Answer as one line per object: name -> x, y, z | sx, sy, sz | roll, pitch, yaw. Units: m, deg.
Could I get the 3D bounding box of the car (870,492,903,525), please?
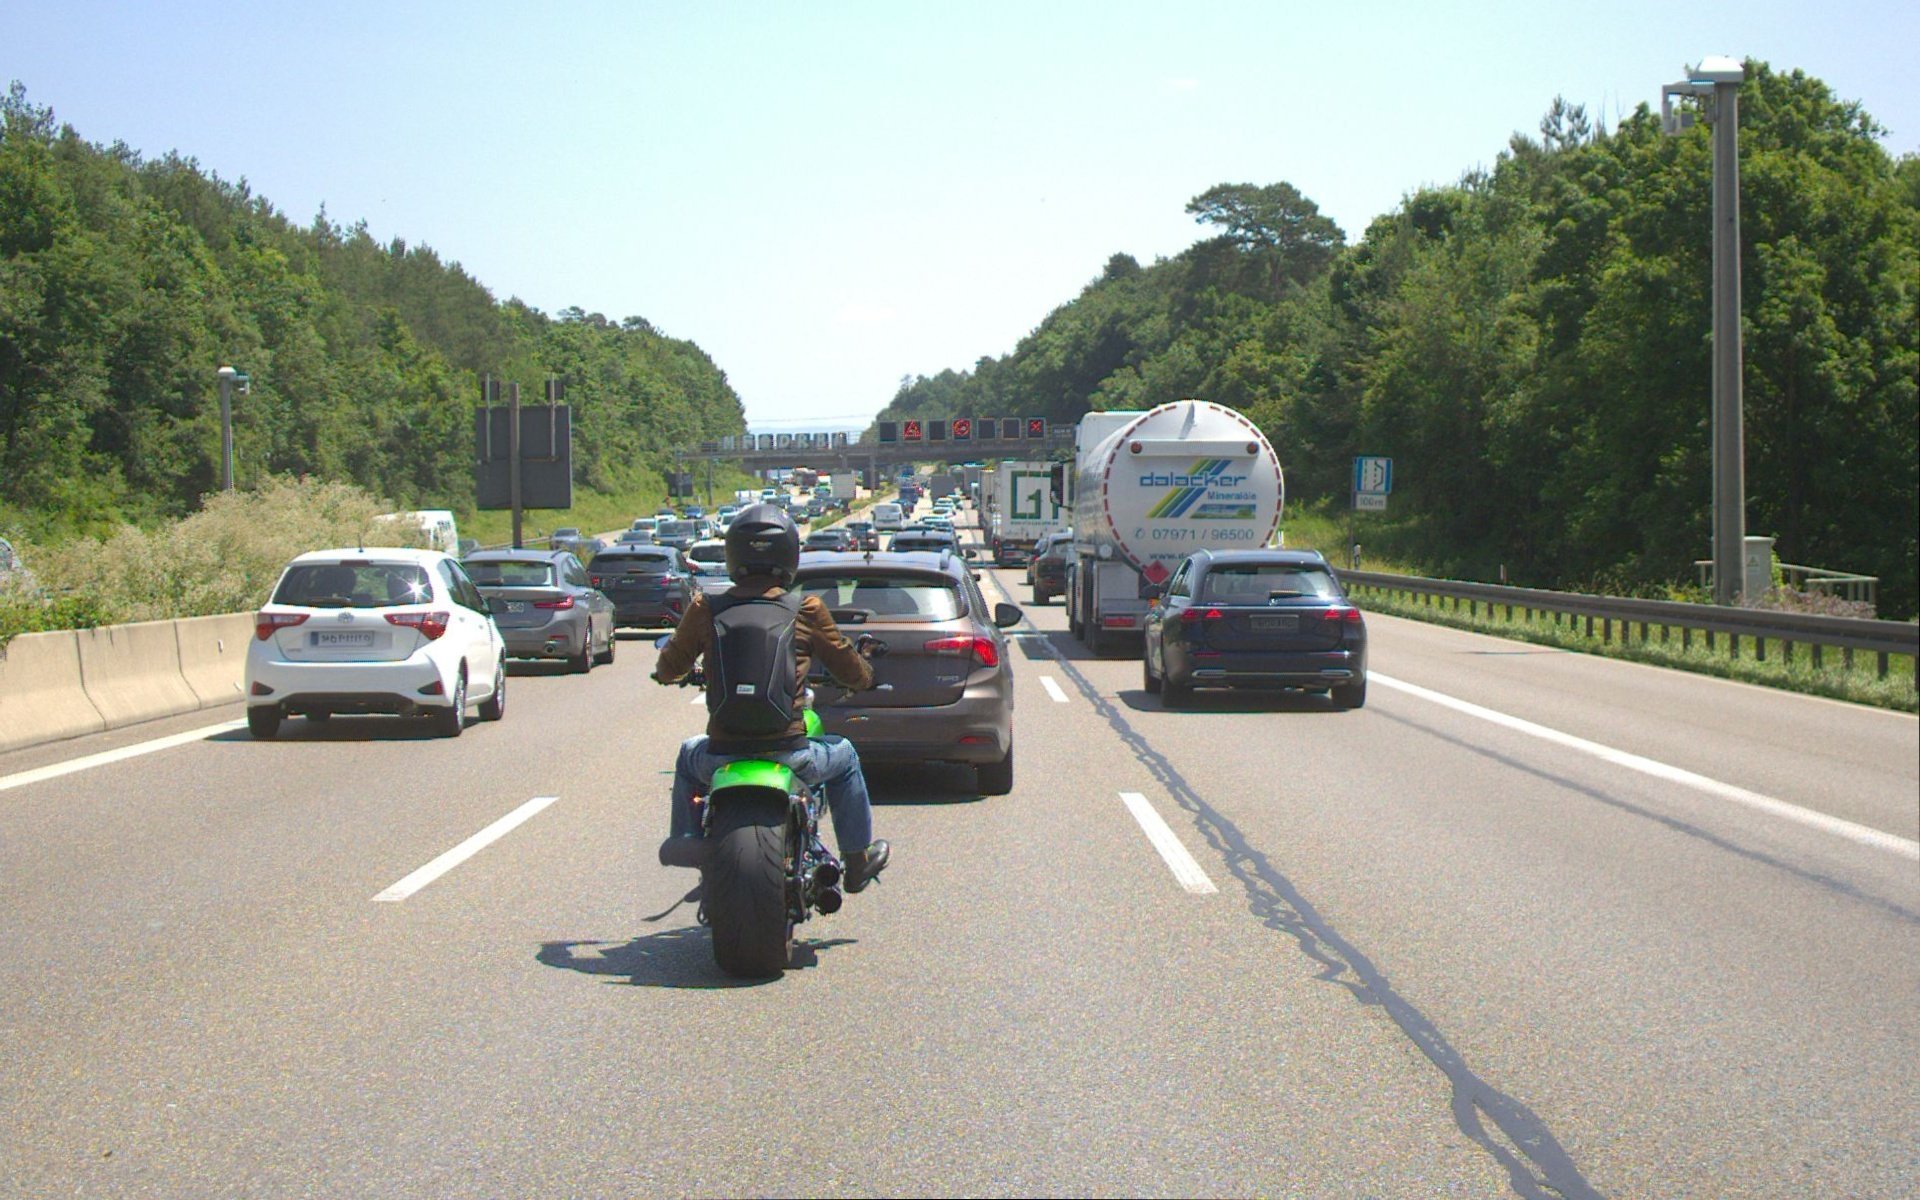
car -> -4.679, -5.826, 219.619 | 1.993, 2.007, 4.000 | -1, 0, 0

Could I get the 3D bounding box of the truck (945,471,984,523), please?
truck -> 0.301, -7.235, 242.850 | 2.696, 3.394, 10.478 | -1, 0, 0

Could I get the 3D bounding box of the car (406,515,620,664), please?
car -> -5.283, -0.109, 41.147 | 1.993, 1.678, 4.330 | 1, 0, 0

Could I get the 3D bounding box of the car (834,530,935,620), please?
car -> -1.536, -0.492, 70.179 | 1.993, 1.769, 4.000 | 1, 0, -1

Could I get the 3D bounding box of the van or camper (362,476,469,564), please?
van or camper -> -15.964, -2.311, 101.131 | 2.152, 2.414, 6.196 | 1, 0, 0

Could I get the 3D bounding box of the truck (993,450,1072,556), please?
truck -> 2.839, -3.689, 132.681 | 2.854, 3.808, 7.187 | 1, 0, 3

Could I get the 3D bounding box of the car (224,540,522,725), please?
car -> -4.766, 0.245, 28.410 | 1.776, 1.406, 4.000 | 1, 0, 0

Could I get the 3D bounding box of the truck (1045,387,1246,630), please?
truck -> 2.891, -1.371, 55.260 | 2.828, 3.658, 6.429 | 1, 0, 0

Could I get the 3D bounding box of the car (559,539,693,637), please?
car -> -5.208, -0.175, 53.967 | 1.993, 1.459, 4.000 | 1, 0, -5

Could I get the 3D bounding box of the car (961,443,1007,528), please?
car -> 1.142, -5.627, 171.044 | 2.167, 3.879, 9.330 | 1, 0, 0

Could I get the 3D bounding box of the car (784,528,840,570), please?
car -> -5.265, -1.811, 122.700 | 1.764, 1.437, 4.000 | 1, 1, 0

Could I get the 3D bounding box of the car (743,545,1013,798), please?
car -> -0.479, 0.395, 21.831 | 1.541, 1.445, 4.000 | 1, 1, 0

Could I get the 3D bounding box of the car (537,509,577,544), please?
car -> -23.913, -4.353, 204.044 | 1.993, 2.007, 4.000 | 0, 1, -1

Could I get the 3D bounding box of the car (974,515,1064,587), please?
car -> 1.301, -1.077, 77.406 | 1.776, 1.522, 4.000 | 1, 0, -3

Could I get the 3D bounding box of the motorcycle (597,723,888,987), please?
motorcycle -> -0.759, 0.903, 12.778 | 0.936, 0.790, 2.299 | 1, 0, 0

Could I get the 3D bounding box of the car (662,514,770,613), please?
car -> -5.086, -0.735, 72.126 | 1.993, 2.007, 4.000 | 1, 0, -1

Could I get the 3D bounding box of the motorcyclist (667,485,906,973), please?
motorcyclist -> -0.608, 0.448, 12.414 | 0.799, 1.682, 1.016 | 1, 0, 0

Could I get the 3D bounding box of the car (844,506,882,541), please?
car -> -4.611, -3.624, 163.022 | 1.660, 1.594, 4.000 | 0, 0, 0

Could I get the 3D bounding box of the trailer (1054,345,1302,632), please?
trailer -> 2.939, -1.411, 49.475 | 2.828, 3.658, 10.732 | 1, 0, 0

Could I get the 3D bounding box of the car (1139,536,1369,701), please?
car -> 2.746, 0.172, 32.988 | 1.792, 1.453, 4.624 | 1, 0, 0

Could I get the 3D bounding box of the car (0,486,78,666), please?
car -> -11.681, -0.284, 38.899 | 1.993, 2.007, 5.387 | 0, 1, 0

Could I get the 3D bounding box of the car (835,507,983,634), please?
car -> -0.730, -0.394, 48.707 | 1.993, 1.705, 4.000 | 1, 0, -1
